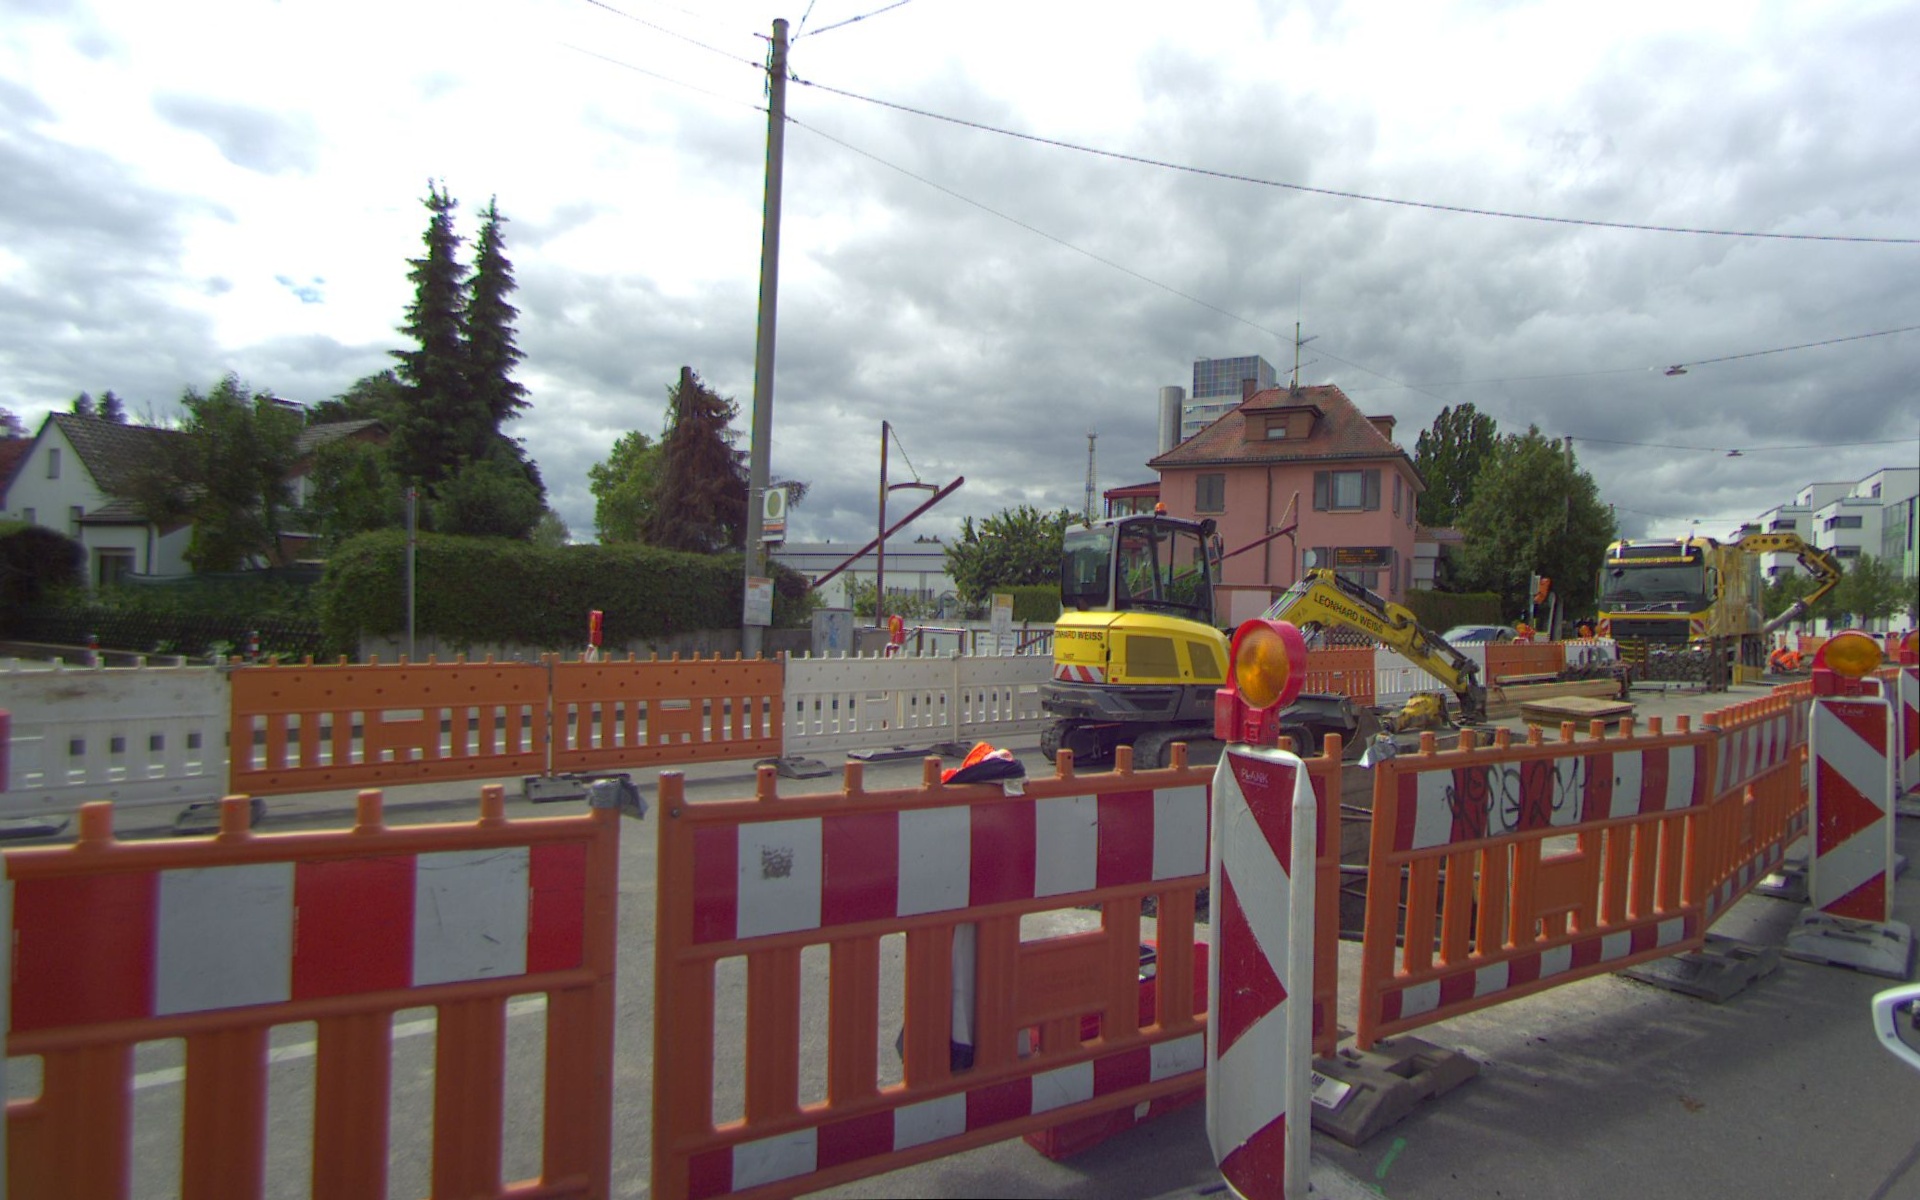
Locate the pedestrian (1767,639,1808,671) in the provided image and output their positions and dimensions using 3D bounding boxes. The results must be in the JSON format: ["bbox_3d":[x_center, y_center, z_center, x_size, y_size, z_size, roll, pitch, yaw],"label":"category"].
[{"bbox_3d":[26.618,1.768,32.308,0.802,1.004,0.787,1,-1,-30],"label":"pedestrian"}]

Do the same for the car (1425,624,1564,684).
[{"bbox_3d":[15.073,1.458,28.236,4.401,1.533,1.840,2,-1,-38],"label":"car"}]

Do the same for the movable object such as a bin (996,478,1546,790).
[{"bbox_3d":[3.649,0.362,11.091,6.446,2.660,1.984,1,-1,-30],"label":"movable object such as a bin"}]

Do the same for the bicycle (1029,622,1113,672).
[{"bbox_3d":[2.543,1.062,22.890,2.112,1.097,0.534,1,-1,-38],"label":"bicycle"}]

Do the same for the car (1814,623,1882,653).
[{"bbox_3d":[51.111,2.147,57.880,1.816,1.533,3.996,3,0,25],"label":"car"}]

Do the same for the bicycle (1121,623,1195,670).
[{"bbox_3d":[4.880,1.125,24.686,2.112,1.097,0.534,1,-1,-38],"label":"bicycle"}]

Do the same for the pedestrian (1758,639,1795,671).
[{"bbox_3d":[26.978,1.809,33.208,0.781,1.004,0.640,1,-1,-20],"label":"pedestrian"}]

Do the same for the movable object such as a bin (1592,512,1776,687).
[{"bbox_3d":[21.448,0.108,29.371,11.048,4.277,2.565,2,-1,-45],"label":"movable object such as a bin"}]

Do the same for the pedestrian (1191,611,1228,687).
[{"bbox_3d":[6.364,1.232,25.637,0.580,1.911,0.673,1,-1,-40],"label":"pedestrian"}]
